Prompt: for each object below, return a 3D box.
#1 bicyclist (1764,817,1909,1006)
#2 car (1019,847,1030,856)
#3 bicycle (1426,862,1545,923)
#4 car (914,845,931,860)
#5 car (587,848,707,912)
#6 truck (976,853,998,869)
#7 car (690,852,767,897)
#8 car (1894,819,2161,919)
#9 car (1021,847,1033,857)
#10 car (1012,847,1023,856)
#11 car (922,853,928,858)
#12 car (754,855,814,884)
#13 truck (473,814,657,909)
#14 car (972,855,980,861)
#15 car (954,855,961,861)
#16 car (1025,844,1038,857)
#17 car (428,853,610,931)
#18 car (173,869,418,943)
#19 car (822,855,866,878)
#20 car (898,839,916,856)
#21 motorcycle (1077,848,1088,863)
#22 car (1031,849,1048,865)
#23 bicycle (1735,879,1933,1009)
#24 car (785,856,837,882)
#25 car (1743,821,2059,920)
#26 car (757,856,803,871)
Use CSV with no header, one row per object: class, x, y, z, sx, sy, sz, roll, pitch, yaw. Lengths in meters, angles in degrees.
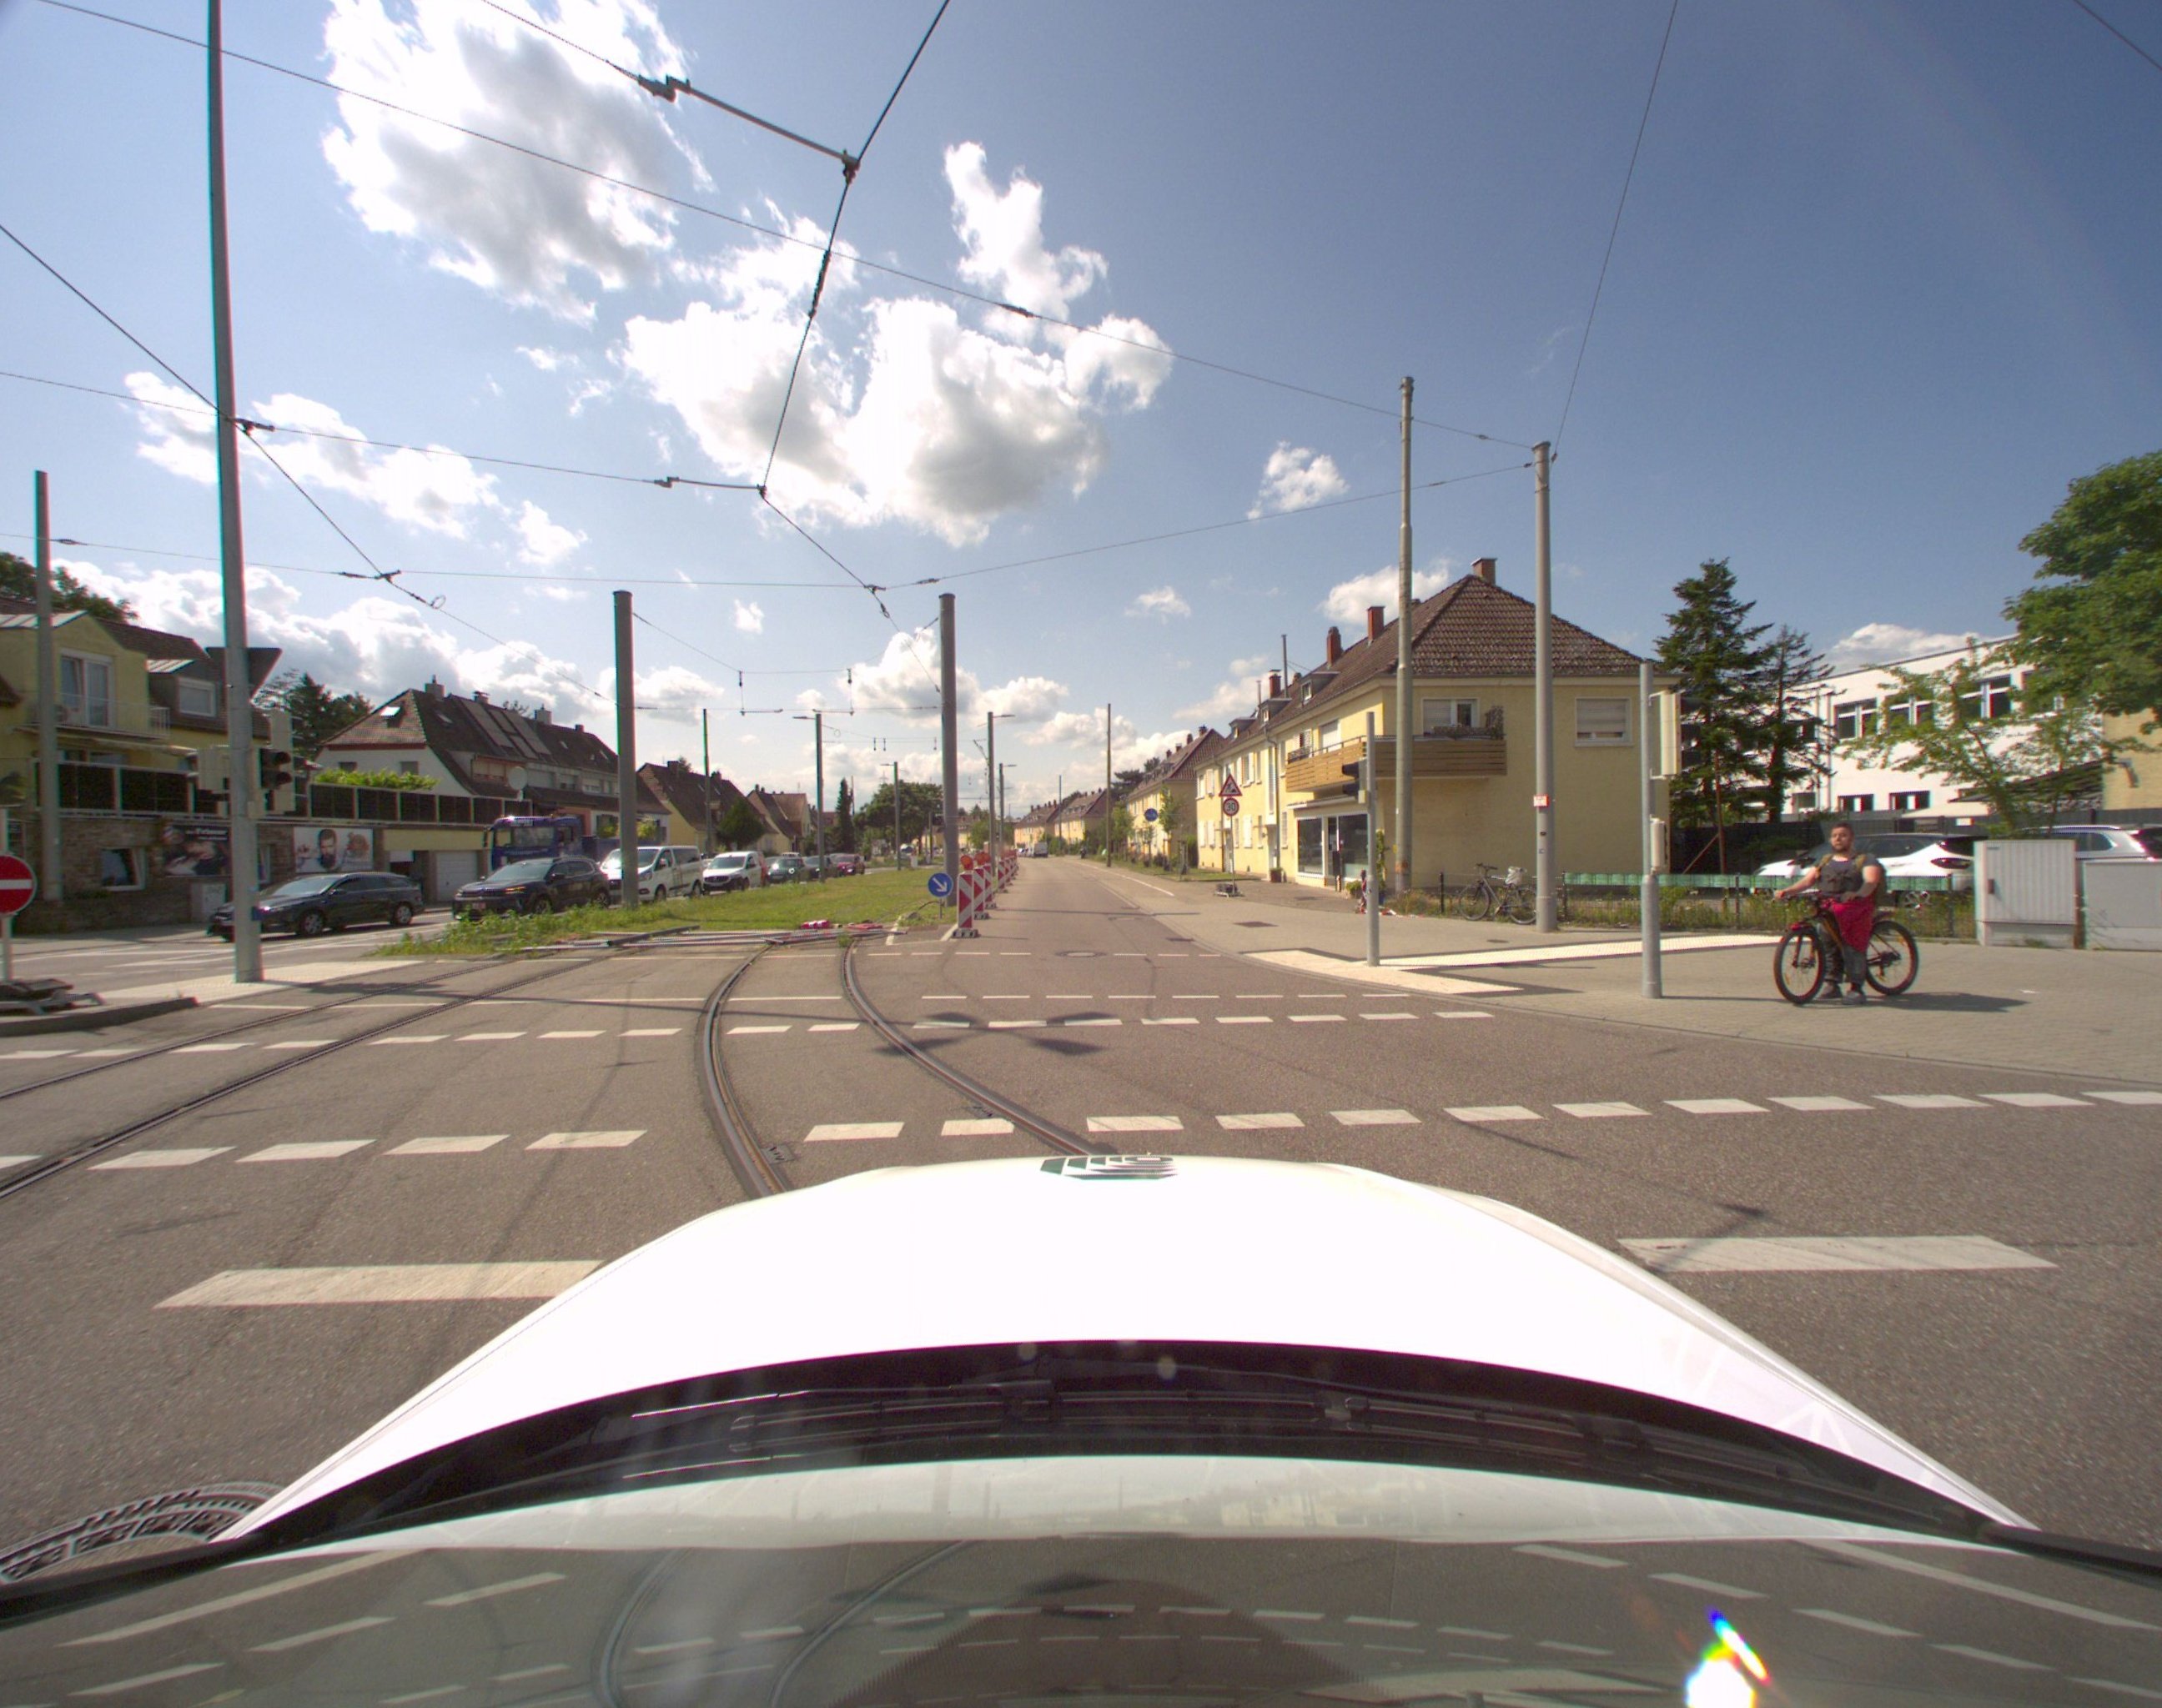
bicyclist,7.557,0.537,8.162,0.961,1.775,0.714,-1,0,-23
car,-9.652,-0.418,138.923,1.568,1.551,3.776,-1,1,-11
bicycle,7.885,0.706,16.004,0.595,1.096,2.260,-1,0,-22
car,-25.246,-0.225,129.865,2.410,2.370,4.856,-1,1,-14
car,-14.492,0.799,27.524,1.811,1.922,4.740,-1,0,-5
truck,-20.860,1.544,179.617,2.650,3.494,9.373,-1,0,-20
car,-15.214,0.844,35.440,1.730,1.782,4.397,-1,0,-5
car,18.139,0.263,15.134,1.820,1.621,3.991,-1,-1,-6
car,-8.882,-0.291,133.397,1.568,1.551,3.776,-1,1,-11
car,-11.721,-0.413,150.566,1.568,1.551,3.466,-1,1,-11
car,-47.020,0.464,245.133,1.264,1.426,2.643,-1,1,-25
car,-15.370,0.782,42.409,1.912,1.419,3.993,-1,0,-5
truck,-19.470,0.254,31.450,2.764,3.188,7.569,-1,0,-5
car,-24.626,0.926,191.518,1.262,1.426,2.647,-1,0,-21
car,-32.241,1.105,212.419,1.262,1.426,2.646,-1,0,-22
car,-7.749,-0.542,128.171,1.568,1.897,3.775,-1,0,-11
car,-14.289,0.881,21.088,1.783,1.720,4.436,-1,1,-3
car,-18.773,1.165,19.803,1.823,1.487,4.330,-1,0,-2
car,-16.148,0.816,55.667,1.839,1.494,4.850,-1,0,-4
car,-25.191,-0.979,117.677,2.410,2.338,4.855,-1,0,-14
motorcycle,0.209,0.164,93.106,1.065,1.635,2.080,-1,0,-5
car,-6.032,0.408,118.613,2.063,2.149,4.867,-1,0,-7
bicycle,7.560,0.842,8.164,2.036,1.102,0.709,-1,0,-24
car,-16.038,0.872,48.623,1.840,1.413,4.908,-1,0,-5
car,15.358,0.307,15.621,1.820,1.621,3.991,-1,-1,-6
car,-31.264,0.959,84.673,4.100,1.466,1.988,-1,0,-5
